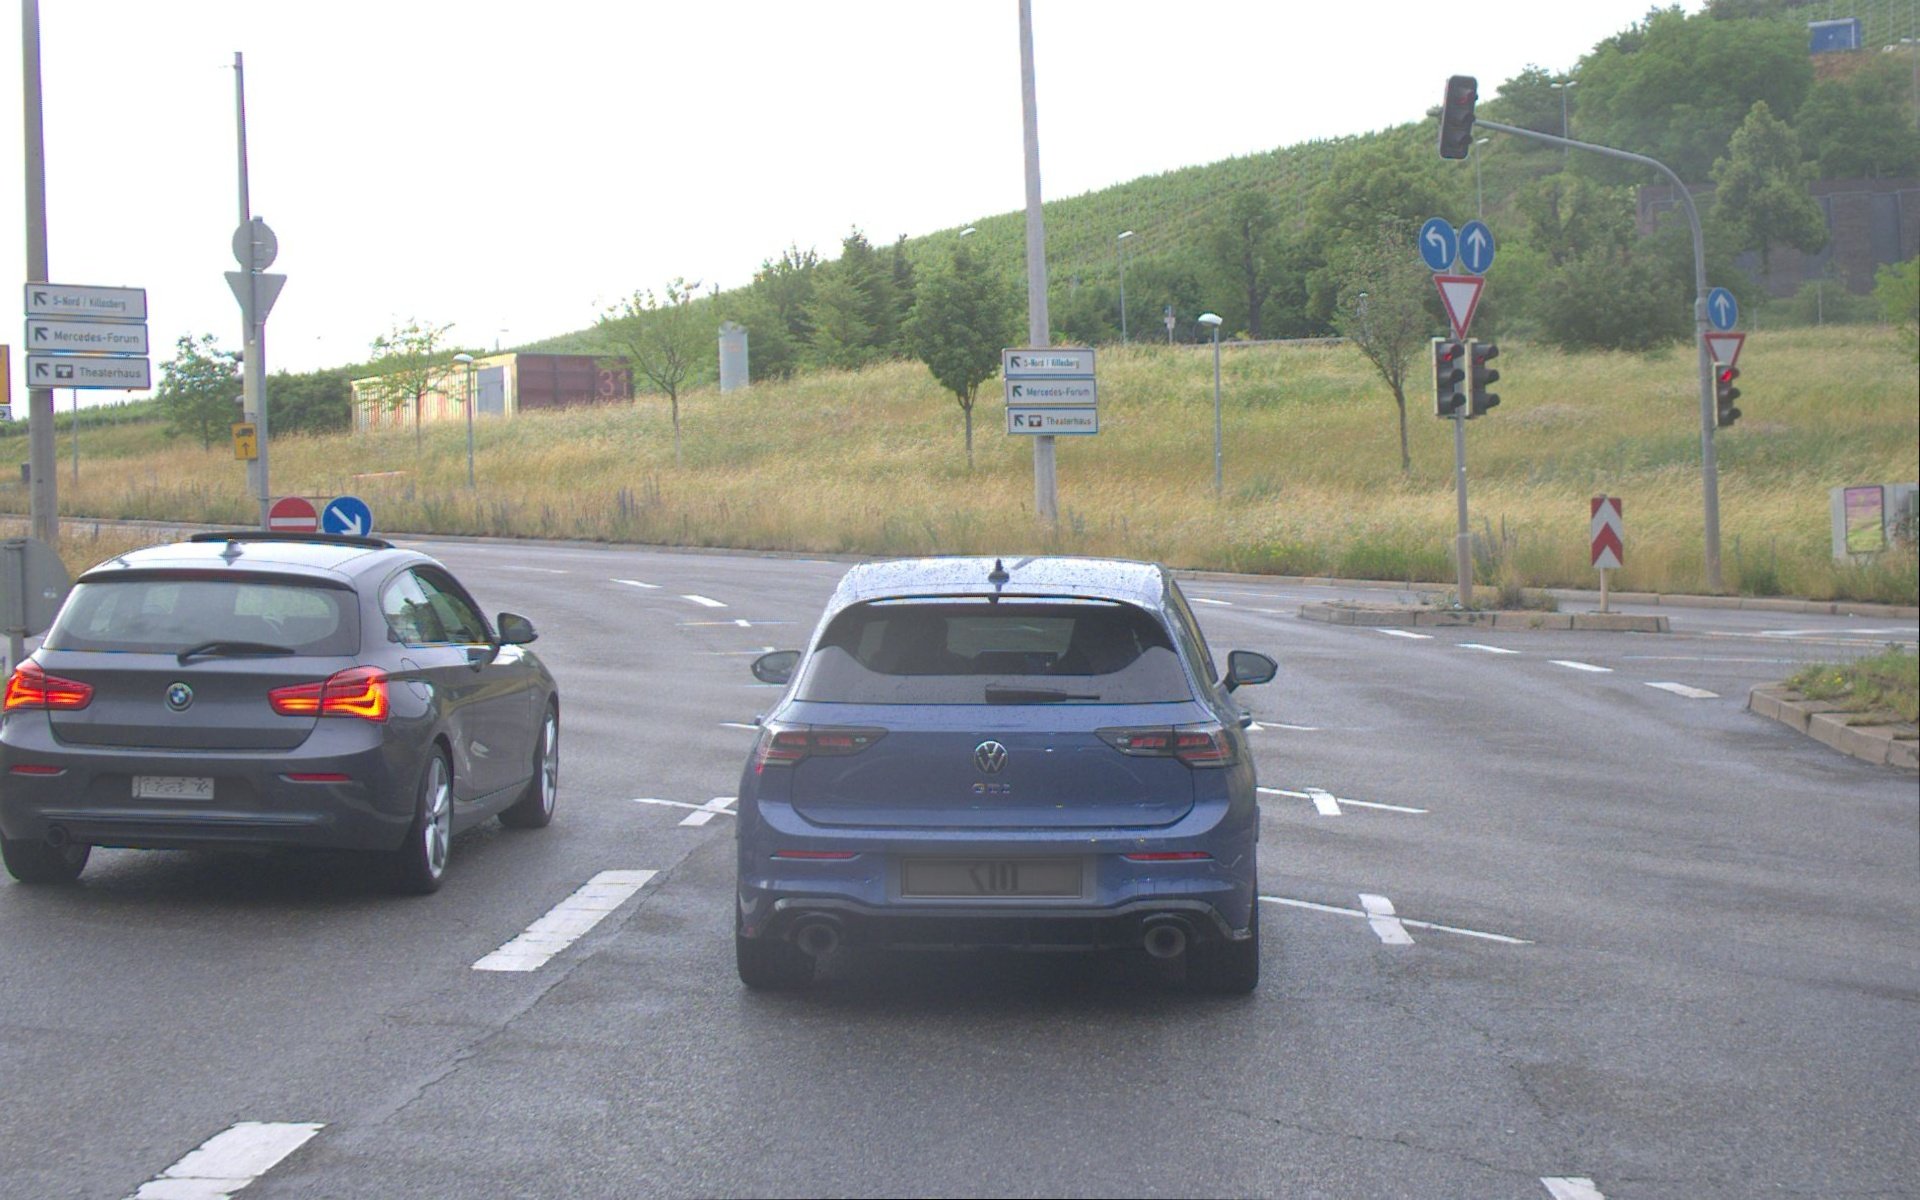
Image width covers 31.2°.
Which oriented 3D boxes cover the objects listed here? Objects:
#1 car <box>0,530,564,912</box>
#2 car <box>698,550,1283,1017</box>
[{"bbox_3d":[-2.920,0.441,15.327,1.703,1.455,4.114,-1,1,2],"label":"car"},{"bbox_3d":[0.140,0.561,12.674,1.825,1.455,3.808,0,0,1],"label":"car"}]
